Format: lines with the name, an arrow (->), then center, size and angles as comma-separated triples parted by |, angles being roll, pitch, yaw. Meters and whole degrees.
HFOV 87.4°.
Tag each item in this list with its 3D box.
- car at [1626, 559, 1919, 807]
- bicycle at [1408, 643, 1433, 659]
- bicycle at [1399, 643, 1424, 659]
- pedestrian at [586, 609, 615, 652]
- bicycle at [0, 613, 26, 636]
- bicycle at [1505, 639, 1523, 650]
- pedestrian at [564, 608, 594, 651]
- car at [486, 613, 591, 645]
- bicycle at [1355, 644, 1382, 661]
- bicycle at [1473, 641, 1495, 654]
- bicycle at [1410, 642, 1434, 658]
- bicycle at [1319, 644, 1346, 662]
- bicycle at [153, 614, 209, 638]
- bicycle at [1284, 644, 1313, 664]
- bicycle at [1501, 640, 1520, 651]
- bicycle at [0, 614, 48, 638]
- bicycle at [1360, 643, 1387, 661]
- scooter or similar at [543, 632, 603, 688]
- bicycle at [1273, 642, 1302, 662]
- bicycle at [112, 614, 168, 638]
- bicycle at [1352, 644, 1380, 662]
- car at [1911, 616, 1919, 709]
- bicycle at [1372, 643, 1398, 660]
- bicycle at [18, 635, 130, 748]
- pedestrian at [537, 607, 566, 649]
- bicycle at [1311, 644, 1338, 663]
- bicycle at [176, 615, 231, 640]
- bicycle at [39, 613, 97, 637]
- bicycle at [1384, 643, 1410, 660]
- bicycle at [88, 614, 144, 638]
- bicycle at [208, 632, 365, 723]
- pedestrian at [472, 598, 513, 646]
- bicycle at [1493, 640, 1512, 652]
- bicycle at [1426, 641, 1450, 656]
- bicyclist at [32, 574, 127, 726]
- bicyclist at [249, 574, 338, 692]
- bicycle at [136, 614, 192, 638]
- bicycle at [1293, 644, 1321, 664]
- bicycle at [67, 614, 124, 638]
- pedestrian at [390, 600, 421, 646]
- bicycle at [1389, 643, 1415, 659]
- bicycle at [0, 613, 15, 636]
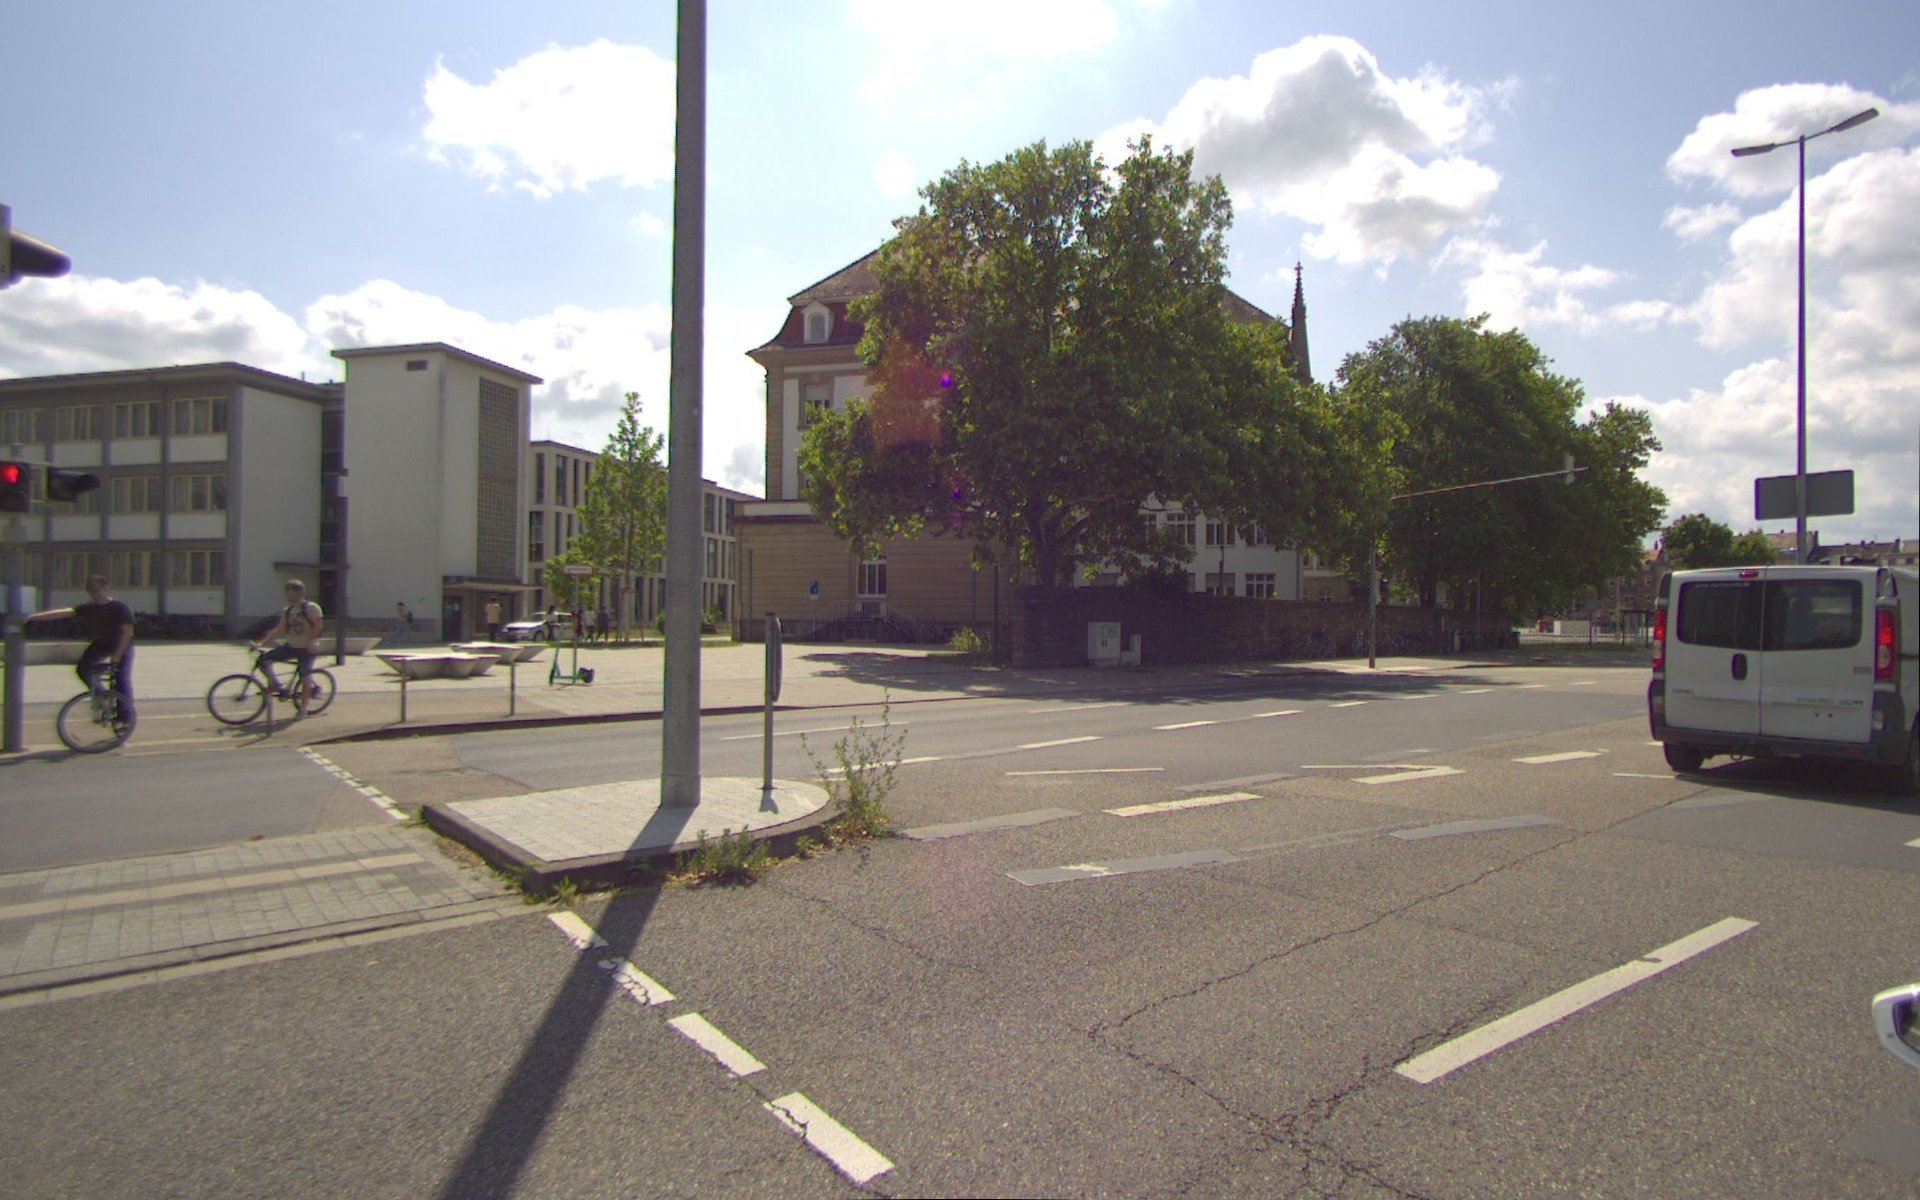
car -> 9.080, 0.712, 10.377 | 5.144, 1.981, 1.992 | 2, 0, -36
bicycle -> 21.981, 2.424, 47.934 | 0.987, 0.691, 0.409 | 2, 0, 11
bicycle -> 21.115, 2.389, 46.976 | 0.987, 0.691, 0.409 | 2, 0, 11
pedestrian -> -15.498, 1.304, 43.293 | 0.848, 1.813, 0.844 | 0, -1, 11
bicycle -> -41.646, 1.053, 43.406 | 0.519, 0.968, 1.773 | 2, -1, 21
bicycle -> 38.081, 3.072, 69.095 | 0.987, 0.691, 0.409 | 2, 0, 11
pedestrian -> -16.428, 1.254, 43.328 | 0.874, 1.813, 0.844 | 0, -1, 8
car -> -19.323, 1.304, 46.277 | 1.960, 1.323, 4.495 | 2, 0, 17
bicycle -> 17.569, 2.248, 43.167 | 0.987, 0.691, 0.409 | 2, 0, 11
bicycle -> 30.043, 2.746, 57.583 | 0.987, 0.691, 0.409 | 2, 0, 11
bicycle -> 22.364, 2.419, 48.629 | 0.987, 0.691, 0.409 | 2, 0, 11
bicycle -> 15.156, 2.153, 40.915 | 0.988, 0.691, 0.408 | 2, 0, 24
bicycle -> -32.172, 1.084, 41.522 | 0.519, 0.968, 1.773 | 2, -1, 21
bicycle -> 12.906, 2.064, 38.293 | 0.988, 0.691, 0.408 | 2, 0, 24
bicycle -> 35.894, 2.983, 65.534 | 0.987, 0.691, 0.409 | 2, 0, 11
bicycle -> -40.391, 1.123, 43.129 | 0.519, 0.968, 1.773 | 2, -1, 21
bicycle -> 18.028, 2.267, 43.784 | 0.987, 0.691, 0.409 | 2, 0, 11
scooter or similar -> -7.684, 1.180, 19.922 | 1.129, 1.081, 0.403 | 0, -1, 22
bicycle -> 12.189, 1.928, 37.380 | 0.988, 0.691, 0.408 | 2, 0, 24
bicycle -> -34.353, 1.102, 42.094 | 0.519, 0.968, 1.773 | 2, -1, 21
bicycle -> 17.205, 2.233, 42.581 | 0.987, 0.691, 0.409 | 2, 0, 11
car -> 18.484, 1.134, 17.465 | 4.841, 1.550, 2.003 | 2, 0, -37
bicycle -> 19.107, 2.310, 45.207 | 0.987, 0.691, 0.409 | 2, 0, 11
bicycle -> -9.902, 0.977, 11.276 | 0.688, 1.139, 1.656 | 1, -1, -33
pedestrian -> -17.539, 1.198, 43.142 | 0.798, 1.813, 0.843 | 0, -1, 19
bicycle -> 14.485, 2.126, 39.912 | 0.988, 0.691, 0.408 | 2, 0, 24
bicycle -> -30.953, 1.127, 41.125 | 0.519, 0.968, 1.773 | 2, -1, 23
bicycle -> -37.882, 1.079, 42.668 | 0.519, 0.968, 1.773 | 2, -1, 21
bicycle -> 19.957, 2.343, 45.846 | 0.987, 0.691, 0.409 | 2, 0, 11
bicycle -> -35.615, 1.097, 42.410 | 0.519, 0.968, 1.773 | 2, -1, 21
bicycle -> -9.180, 1.016, 13.769 | 0.682, 1.139, 1.670 | 0, -1, 24
pedestrian -> -16.823, 0.794, 36.133 | 1.283, 1.673, 1.316 | 1, -1, -28
bicycle -> 34.005, 2.906, 62.981 | 0.987, 0.691, 0.409 | 2, 0, 11
bicycle -> 24.031, 2.457, 50.540 | 0.987, 0.691, 0.409 | 2, 0, 11
bicyclist -> -9.990, 0.545, 11.429 | 0.650, 1.637, 0.990 | 1, -1, -33
bicyclist -> -9.155, 0.445, 13.811 | 0.645, 1.559, 0.785 | 0, -1, 25
bicycle -> -33.107, 1.099, 41.792 | 0.519, 0.968, 1.773 | 2, -1, 21
bicycle -> 13.456, 2.086, 38.986 | 0.988, 0.691, 0.408 | 2, 0, 24
bicycle -> -36.669, 1.097, 42.649 | 0.519, 0.968, 1.773 | 2, -1, 21
pedestrian -> -21.834, 0.903, 39.556 | 0.664, 1.813, 0.844 | 0, -1, 18
bicycle -> 20.376, 2.360, 46.304 | 0.987, 0.691, 0.409 | 2, 0, 11
bicycle -> -42.443, 1.072, 43.777 | 0.519, 0.968, 1.773 | 2, -1, 21
